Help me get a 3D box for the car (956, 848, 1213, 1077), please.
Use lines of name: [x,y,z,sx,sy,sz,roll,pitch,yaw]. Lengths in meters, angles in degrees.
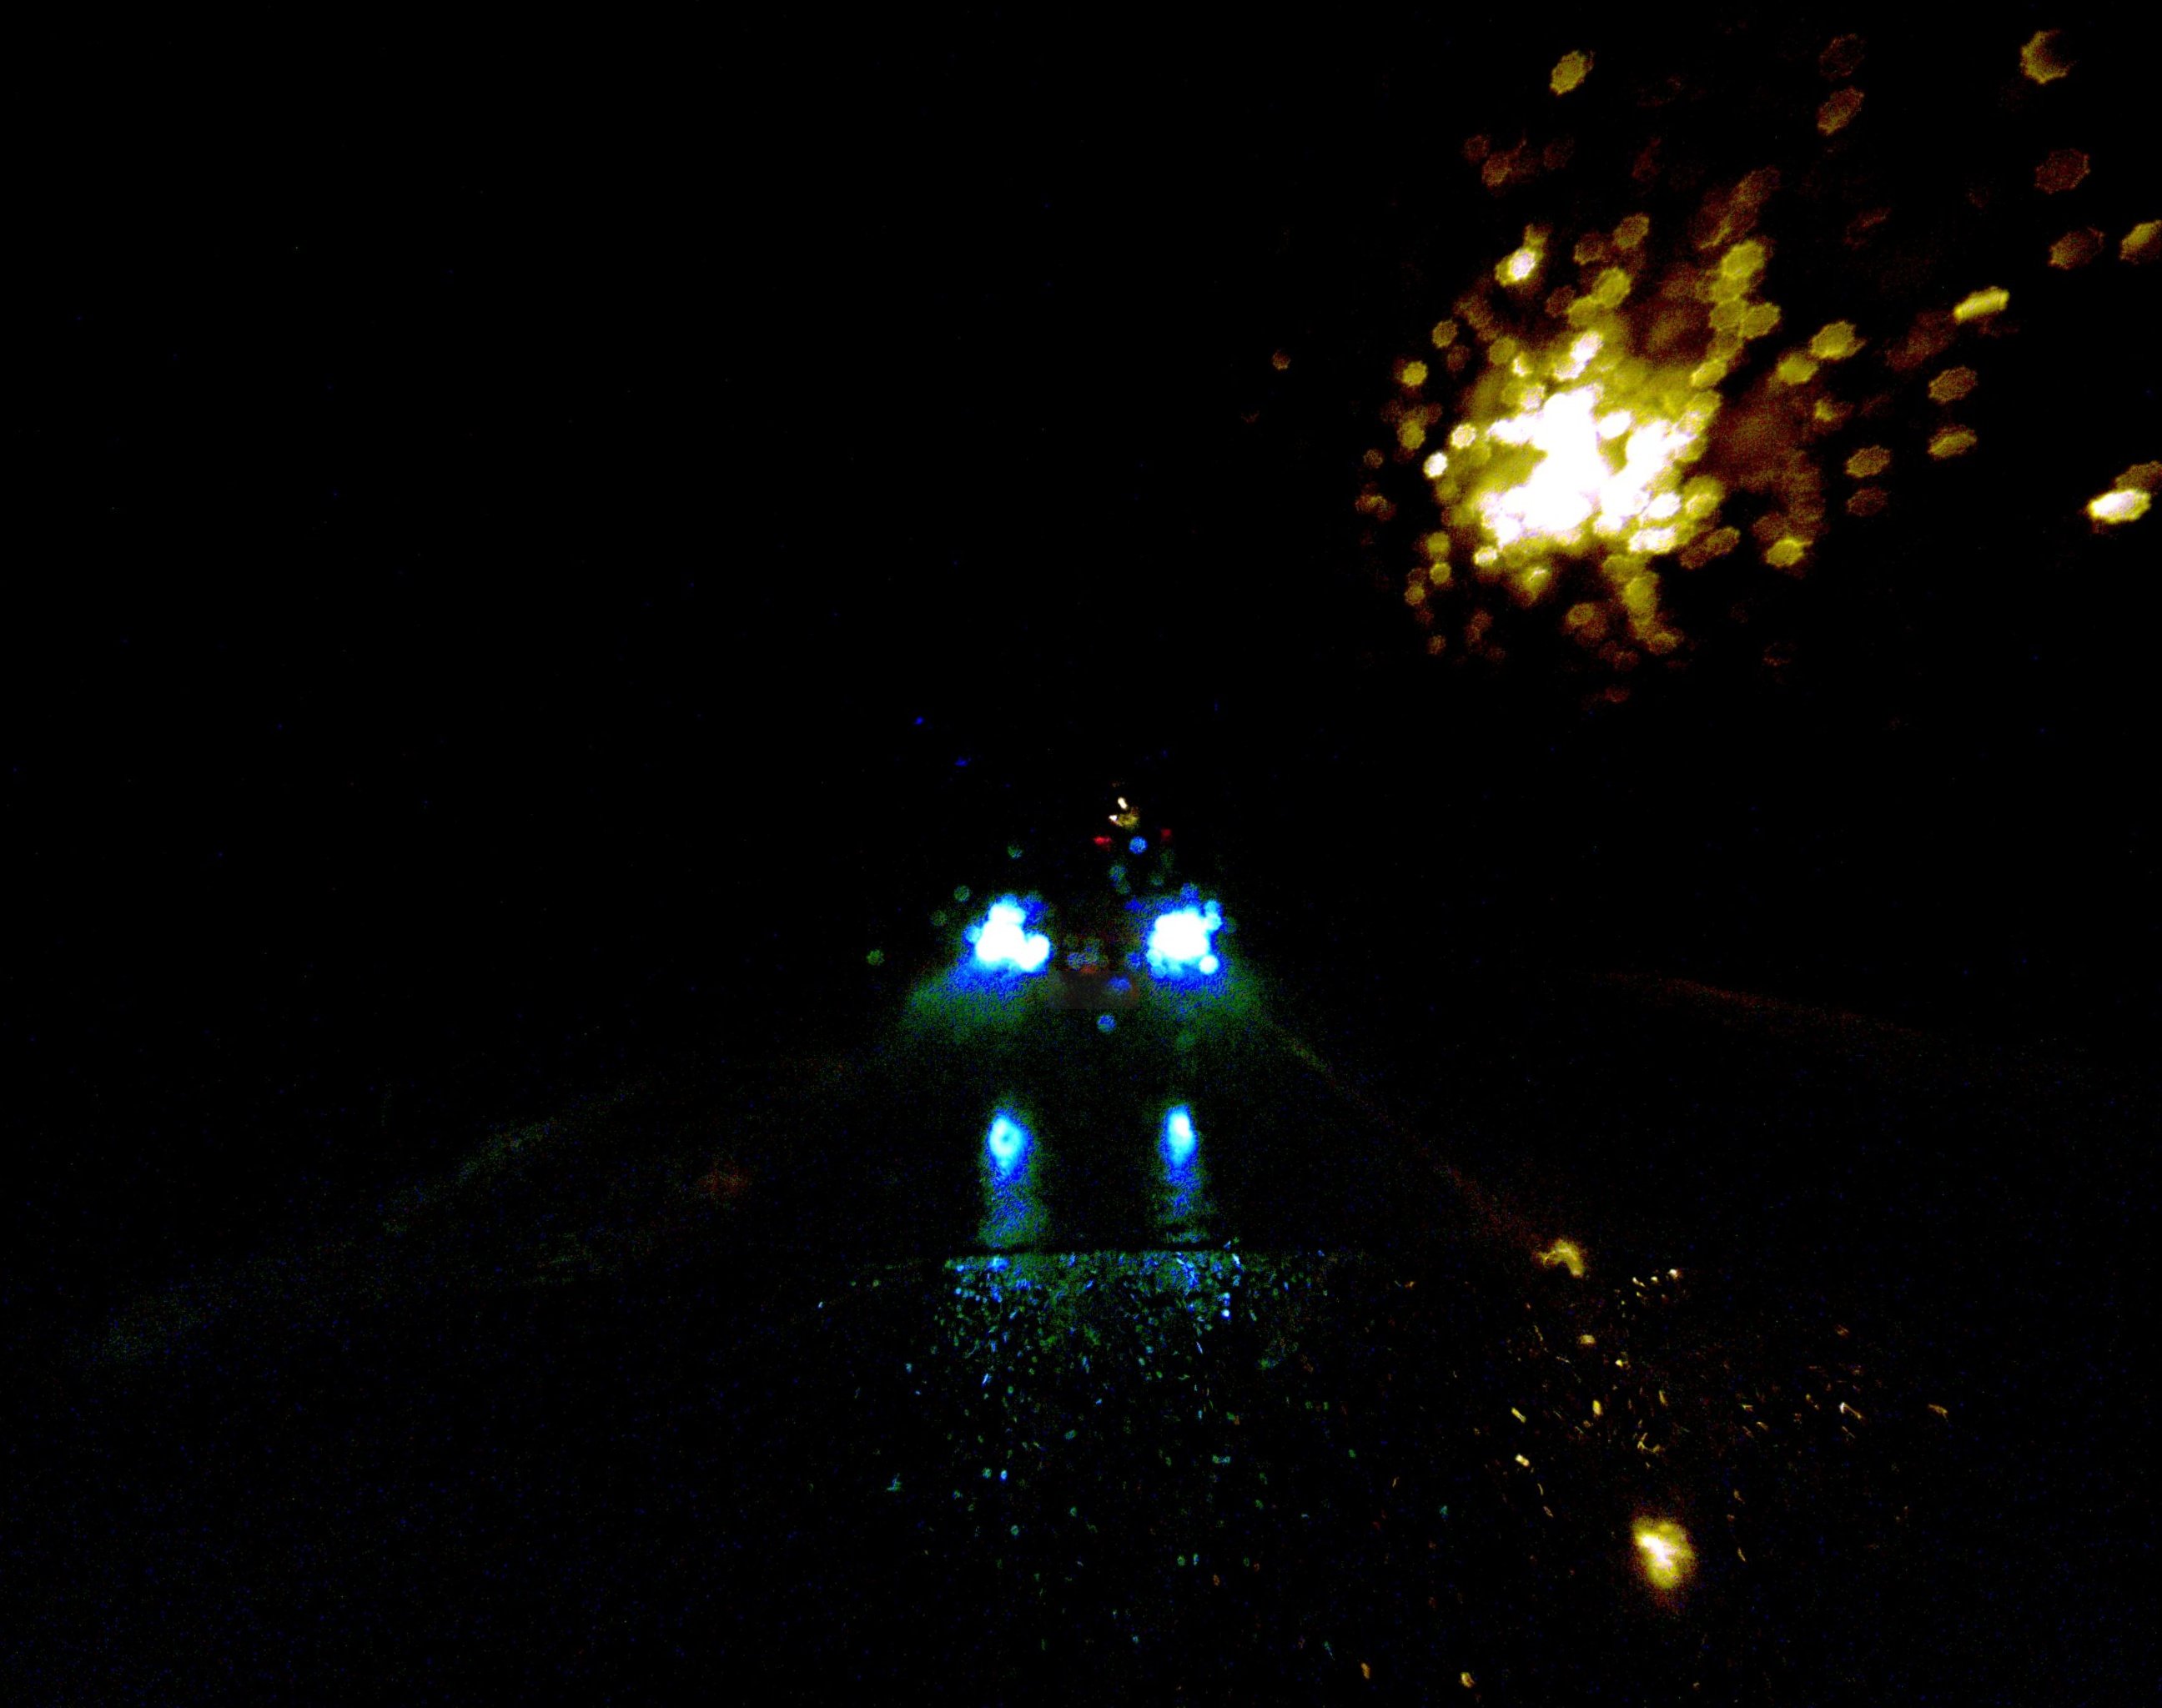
car: [0.158,0.806,7.861,1.893,1.678,4.340,-1,1,4]
